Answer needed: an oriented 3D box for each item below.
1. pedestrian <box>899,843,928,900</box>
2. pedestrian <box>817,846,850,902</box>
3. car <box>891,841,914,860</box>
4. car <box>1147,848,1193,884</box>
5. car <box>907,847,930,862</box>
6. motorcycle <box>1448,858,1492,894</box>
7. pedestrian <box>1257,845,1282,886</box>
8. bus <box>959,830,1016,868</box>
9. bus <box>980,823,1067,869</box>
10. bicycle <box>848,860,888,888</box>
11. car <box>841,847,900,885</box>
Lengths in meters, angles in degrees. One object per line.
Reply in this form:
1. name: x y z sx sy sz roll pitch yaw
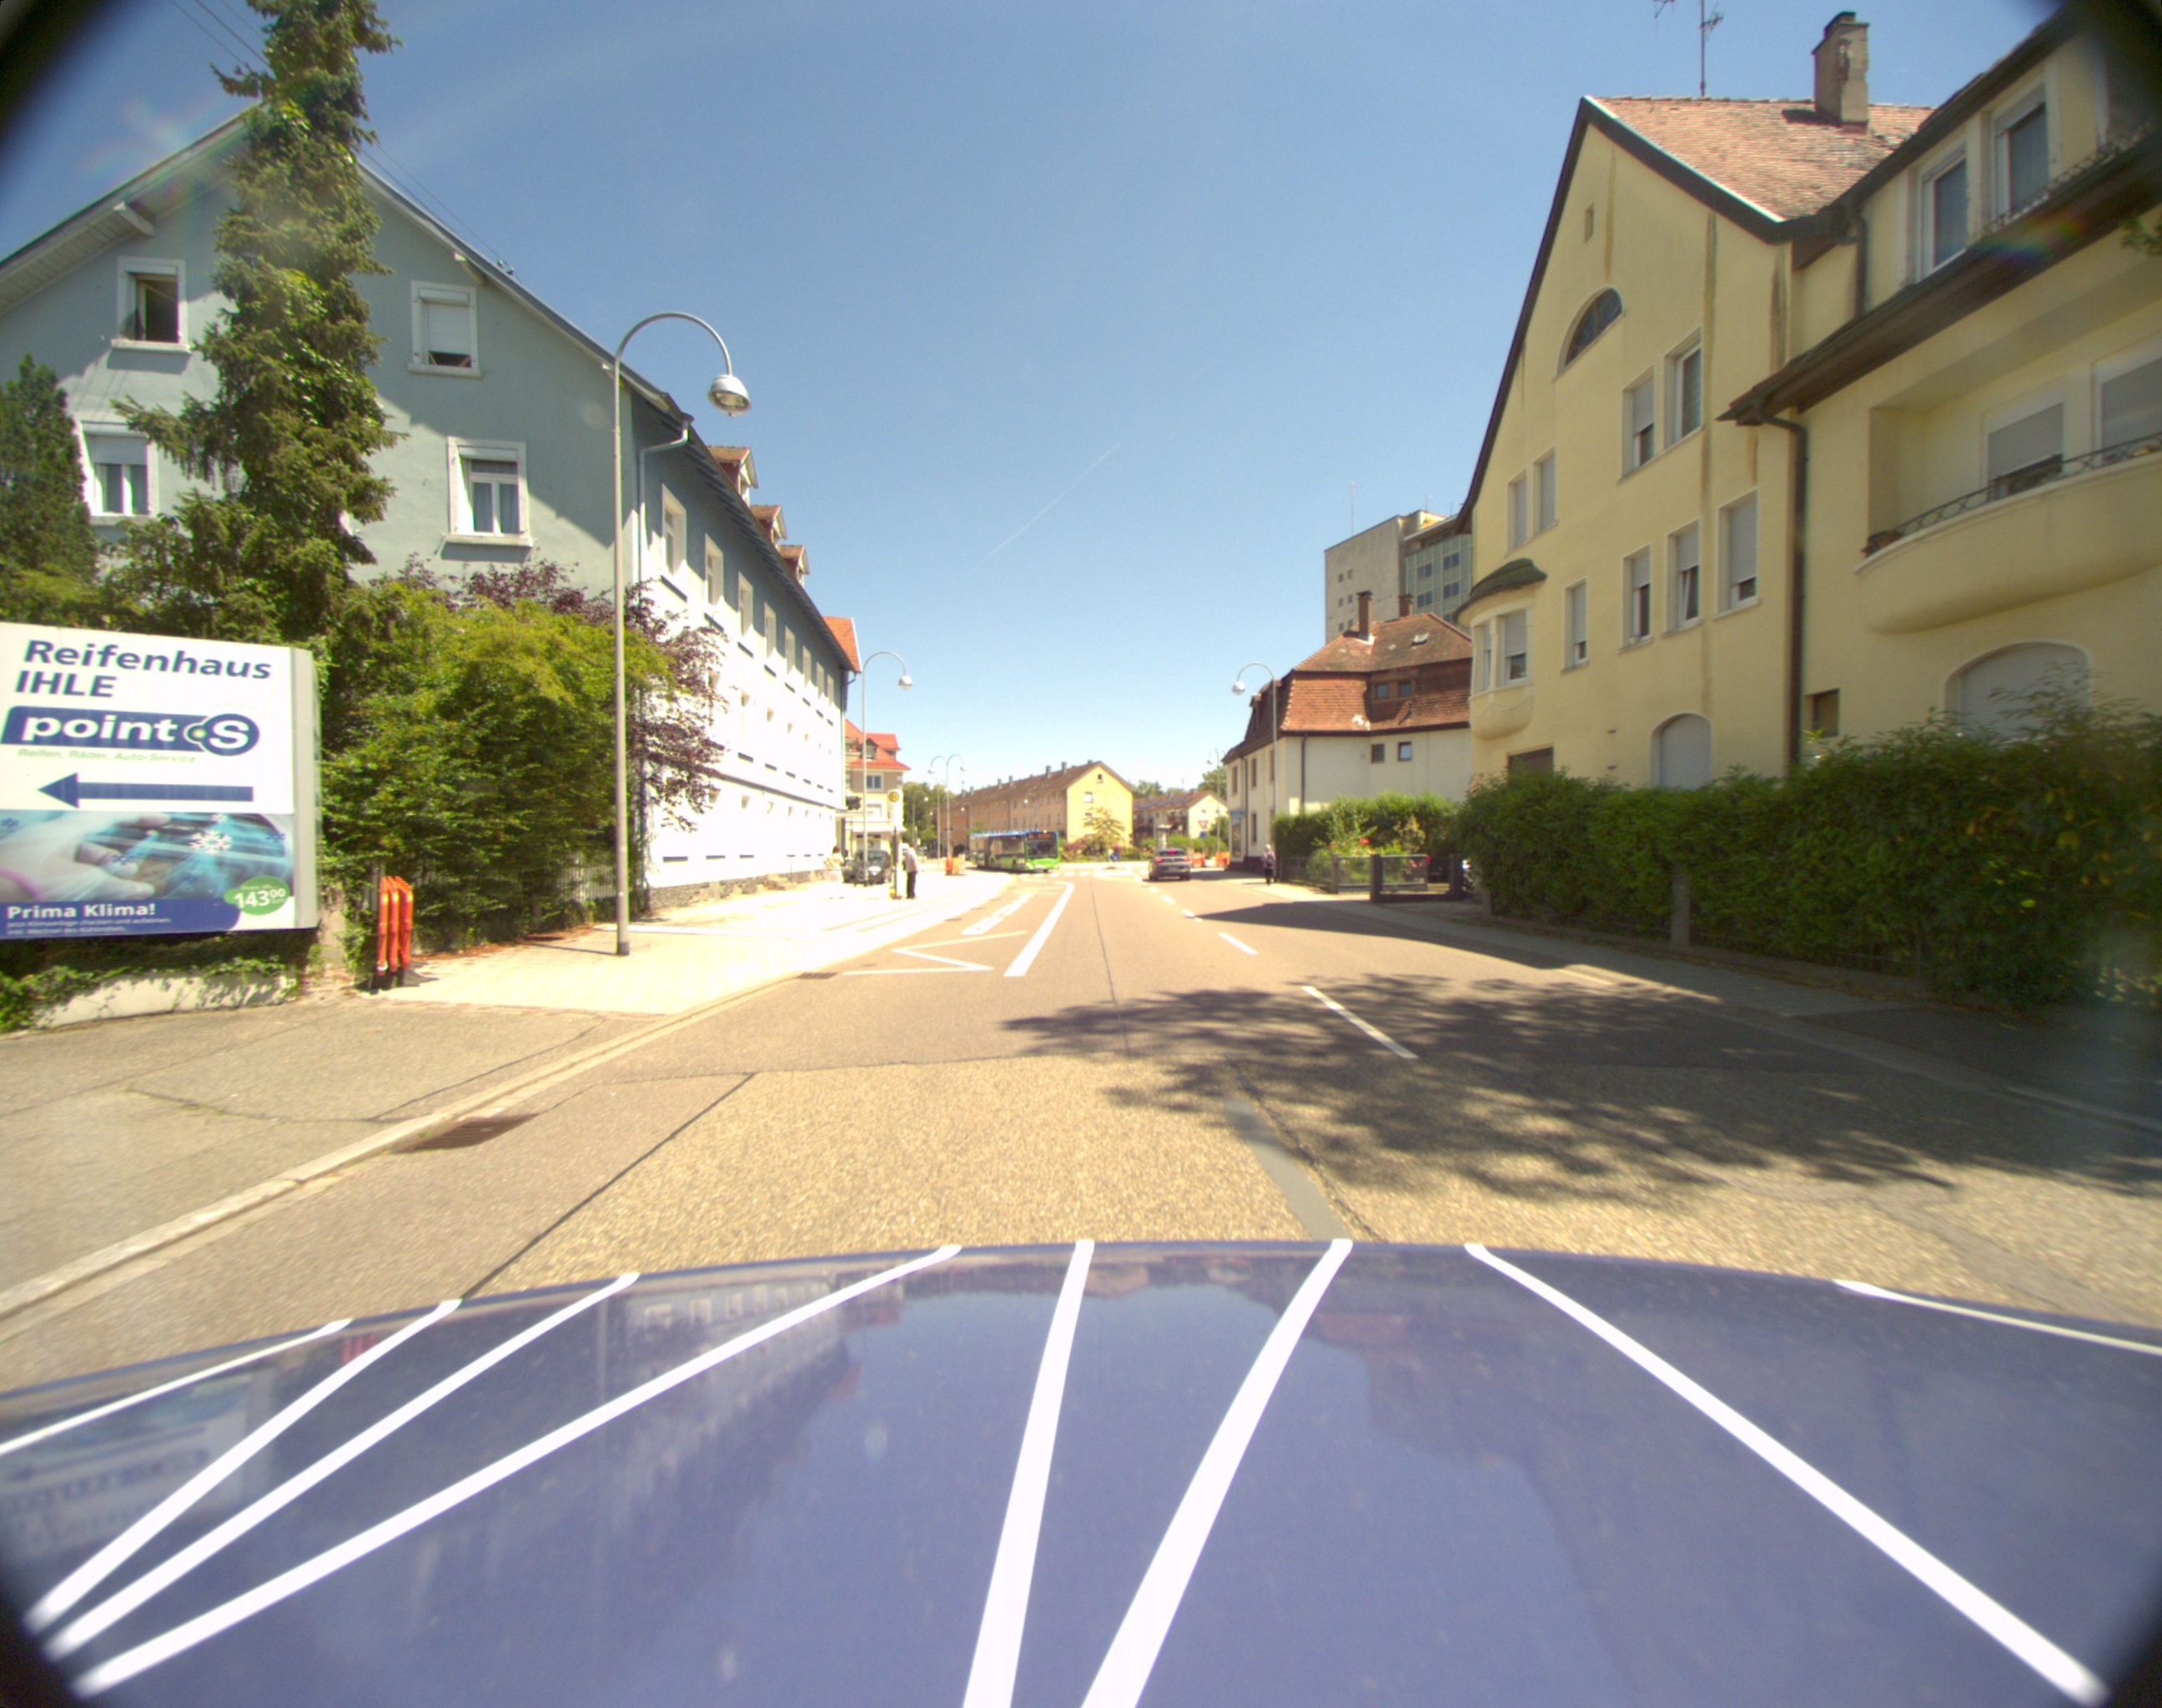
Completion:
1. pedestrian: -5.378 0.560 24.418 0.751 1.795 0.614 2 1 -20
2. pedestrian: -7.373 0.583 22.655 0.615 1.606 0.751 2 1 11
3. car: -24.451 -0.463 103.794 2.344 2.442 5.724 1 0 -20
4. car: 4.407 0.539 38.058 1.858 1.607 4.296 -1 1 1
5. car: -17.643 0.020 82.343 1.829 1.403 3.992 1 1 -19
6. motorcycle: 12.874 0.704 25.086 0.714 1.099 2.149 0 1 43
7. pedestrian: 7.406 0.436 29.878 0.614 1.556 0.824 -6 1 -1
8. bus: -8.857 -0.403 70.071 2.933 3.044 12.543 -2 0 -17
9. bus: -4.725 -0.494 58.423 2.916 3.062 12.539 -2 0 -22
10. bicycle: -8.310 0.754 29.704 0.632 1.033 1.885 3 1 14
11. car: -9.266 0.469 33.702 1.763 1.505 3.739 3 1 -4
